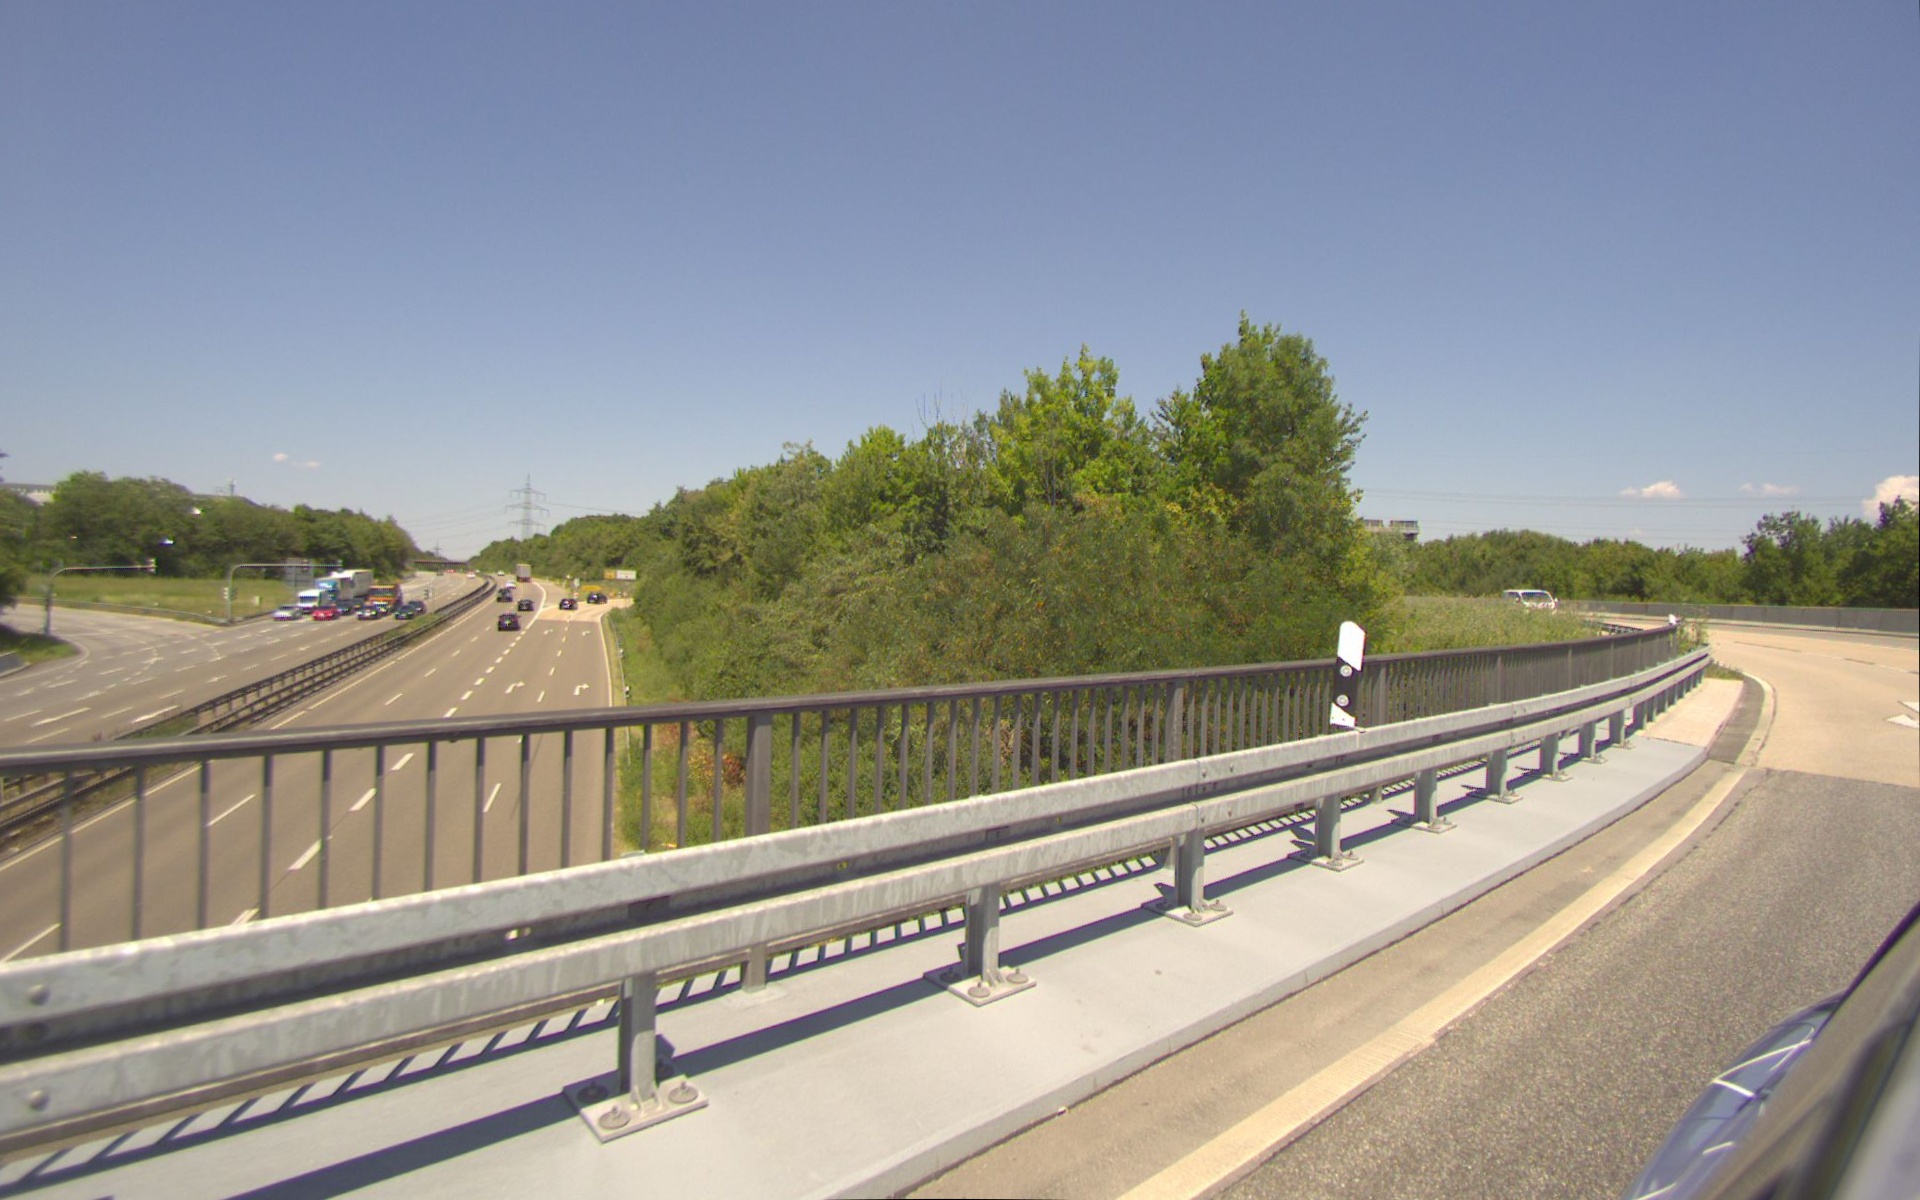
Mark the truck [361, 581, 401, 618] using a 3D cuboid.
[{"bbox_3d":[-66.145,-0.120,115.748,2.656,4.060,8.902,0,1,-21],"label":"truck"}]

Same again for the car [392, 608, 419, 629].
[{"bbox_3d":[-57.664,1.876,105.334,1.958,2.039,4.009,0,1,-21],"label":"car"}]

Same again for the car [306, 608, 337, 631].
[{"bbox_3d":[-64.785,1.950,102.724,1.942,2.237,4.009,0,1,-21],"label":"car"}]

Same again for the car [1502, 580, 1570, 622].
[{"bbox_3d":[34.307,0.004,60.477,2.002,2.109,5.849,1,4,15],"label":"car"}]

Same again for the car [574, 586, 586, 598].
[{"bbox_3d":[-65.282,-1.395,173.878,1.958,2.039,4.009,0,1,-20],"label":"car"}]

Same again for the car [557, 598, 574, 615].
[{"bbox_3d":[-51.215,0.794,131.279,1.958,2.039,4.009,0,1,-20],"label":"car"}]

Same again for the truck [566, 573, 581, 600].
[{"bbox_3d":[-57.943,-2.065,151.857,1.958,4.000,9.103,0,1,-20],"label":"truck"}]

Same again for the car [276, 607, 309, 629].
[{"bbox_3d":[-67.726,1.827,102.676,1.958,2.039,4.009,0,1,-21],"label":"car"}]

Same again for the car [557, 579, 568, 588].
[{"bbox_3d":[-80.251,-3.303,204.302,1.958,1.761,4.009,0,1,-20],"label":"car"}]

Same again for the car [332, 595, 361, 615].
[{"bbox_3d":[-66.459,0.522,109.738,1.958,2.039,4.009,0,1,-21],"label":"car"}]

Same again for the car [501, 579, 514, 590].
[{"bbox_3d":[-86.799,-3.048,194.129,1.958,2.039,4.009,0,1,-21],"label":"car"}]

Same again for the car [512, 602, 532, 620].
[{"bbox_3d":[-54.337,1.346,125.564,1.958,2.039,4.009,0,1,-20],"label":"car"}]

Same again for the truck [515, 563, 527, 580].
[{"bbox_3d":[-103.009,-6.640,237.439,2.191,3.991,6.243,0,1,-27],"label":"truck"}]

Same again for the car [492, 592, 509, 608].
[{"bbox_3d":[-65.645,-0.015,144.586,1.958,2.039,4.009,0,1,-20],"label":"car"}]

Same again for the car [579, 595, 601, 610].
[{"bbox_3d":[-53.063,0.301,145.190,1.960,2.039,4.004,0,1,-5],"label":"car"}]

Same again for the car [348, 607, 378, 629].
[{"bbox_3d":[-61.171,1.844,103.719,1.958,2.039,4.009,0,1,-21],"label":"car"}]

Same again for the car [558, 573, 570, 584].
[{"bbox_3d":[-72.973,-3.906,186.414,1.958,2.039,4.009,0,1,-20],"label":"car"}]

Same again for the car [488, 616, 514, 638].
[{"bbox_3d":[-43.553,2.503,96.007,1.958,1.880,4.009,0,1,-20],"label":"car"}]

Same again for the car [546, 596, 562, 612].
[{"bbox_3d":[-55.005,0.559,137.199,1.958,2.039,4.009,0,1,-20],"label":"car"}]

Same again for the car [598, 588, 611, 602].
[{"bbox_3d":[-57.909,-0.823,164.702,1.958,2.039,4.009,0,1,-20],"label":"car"}]

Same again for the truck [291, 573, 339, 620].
[{"bbox_3d":[-72.732,-0.544,114.385,2.523,5.072,12.432,0,1,-23],"label":"truck"}]

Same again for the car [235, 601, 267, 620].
[{"bbox_3d":[-77.312,1.115,110.444,1.958,1.944,4.009,0,1,-21],"label":"car"}]
